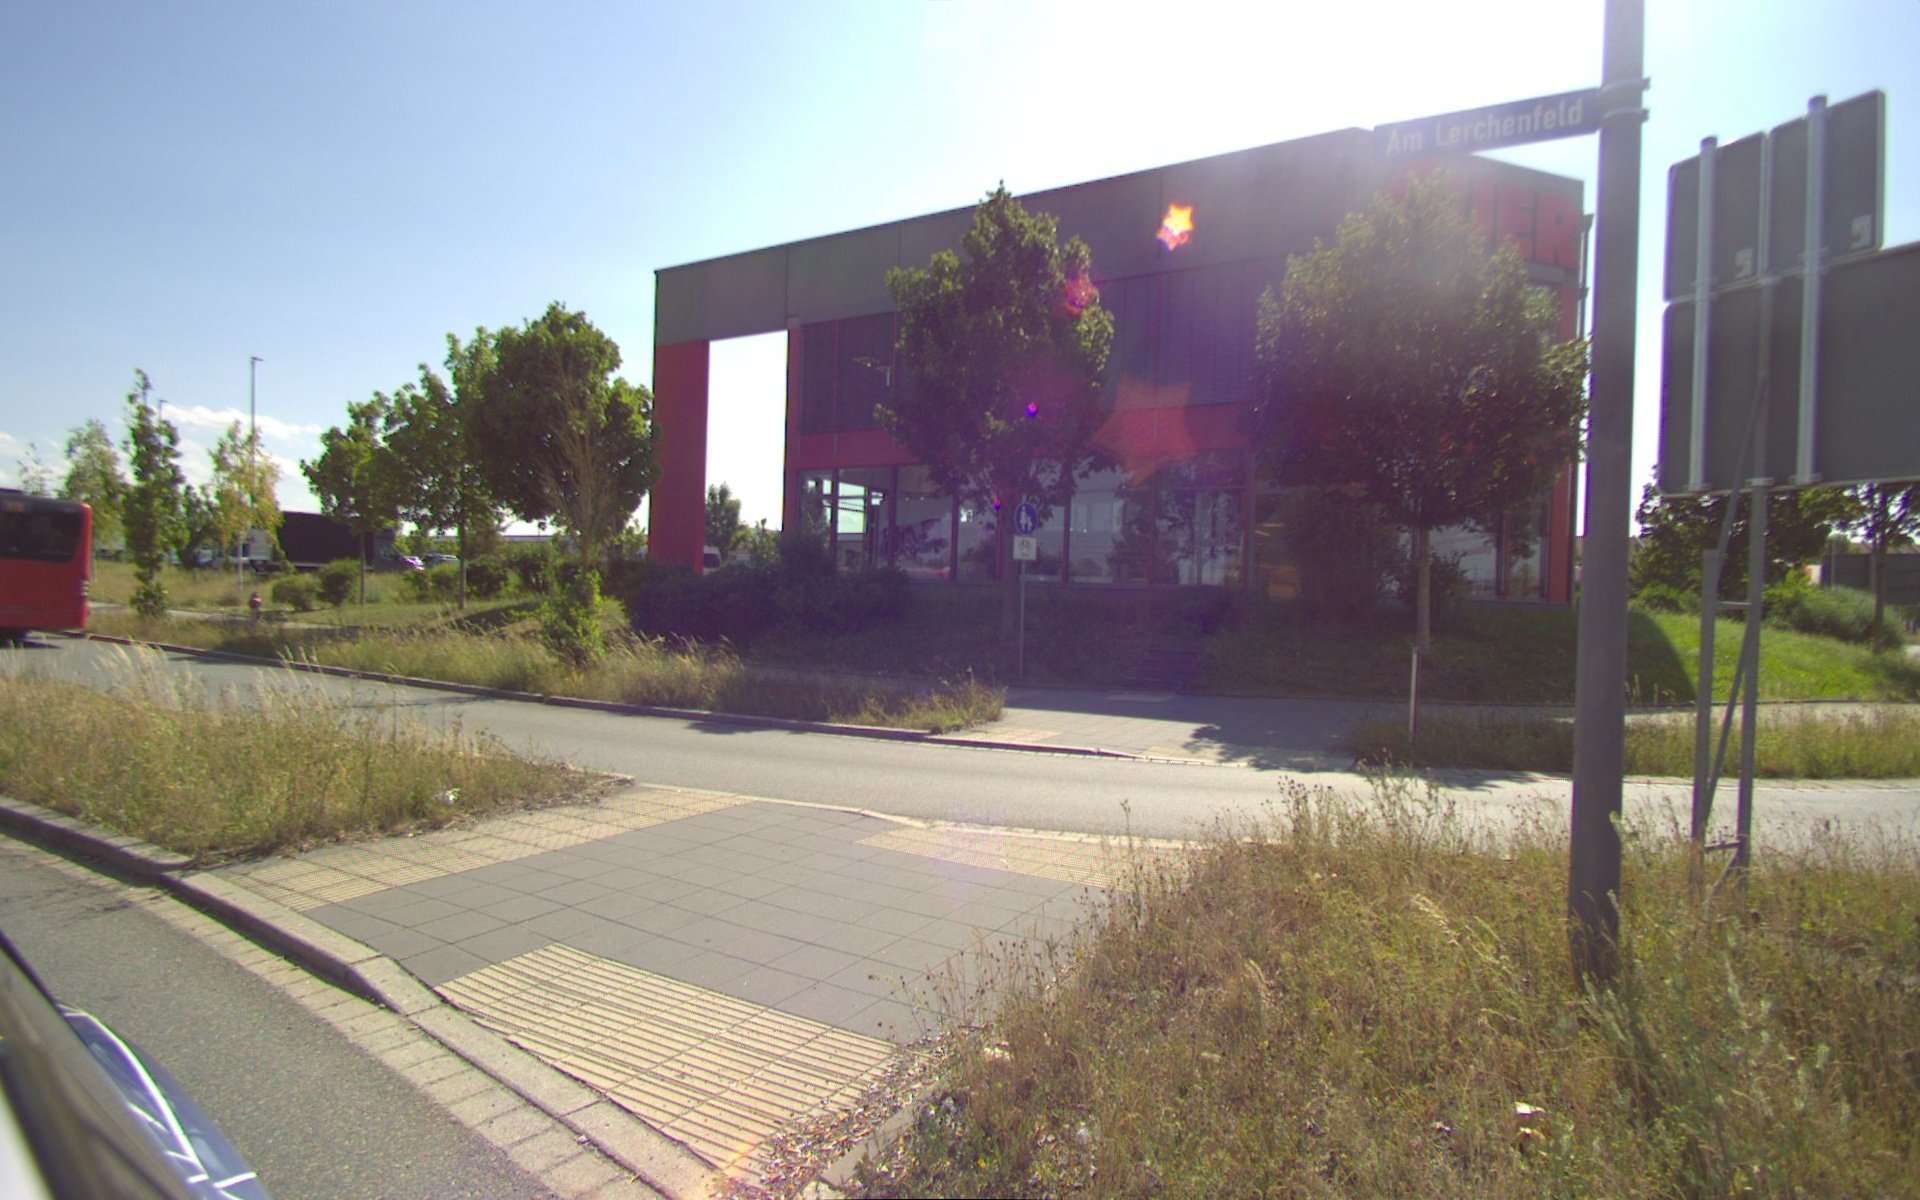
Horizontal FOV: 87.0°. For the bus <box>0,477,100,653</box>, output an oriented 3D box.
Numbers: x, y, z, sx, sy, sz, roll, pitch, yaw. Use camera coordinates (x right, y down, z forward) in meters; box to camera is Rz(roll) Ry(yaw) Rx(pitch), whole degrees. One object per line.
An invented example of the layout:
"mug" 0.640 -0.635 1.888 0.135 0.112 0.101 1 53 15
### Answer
"bus" -22.848 -0.767 21.935 11.834 3.266 2.591 1 0 30
